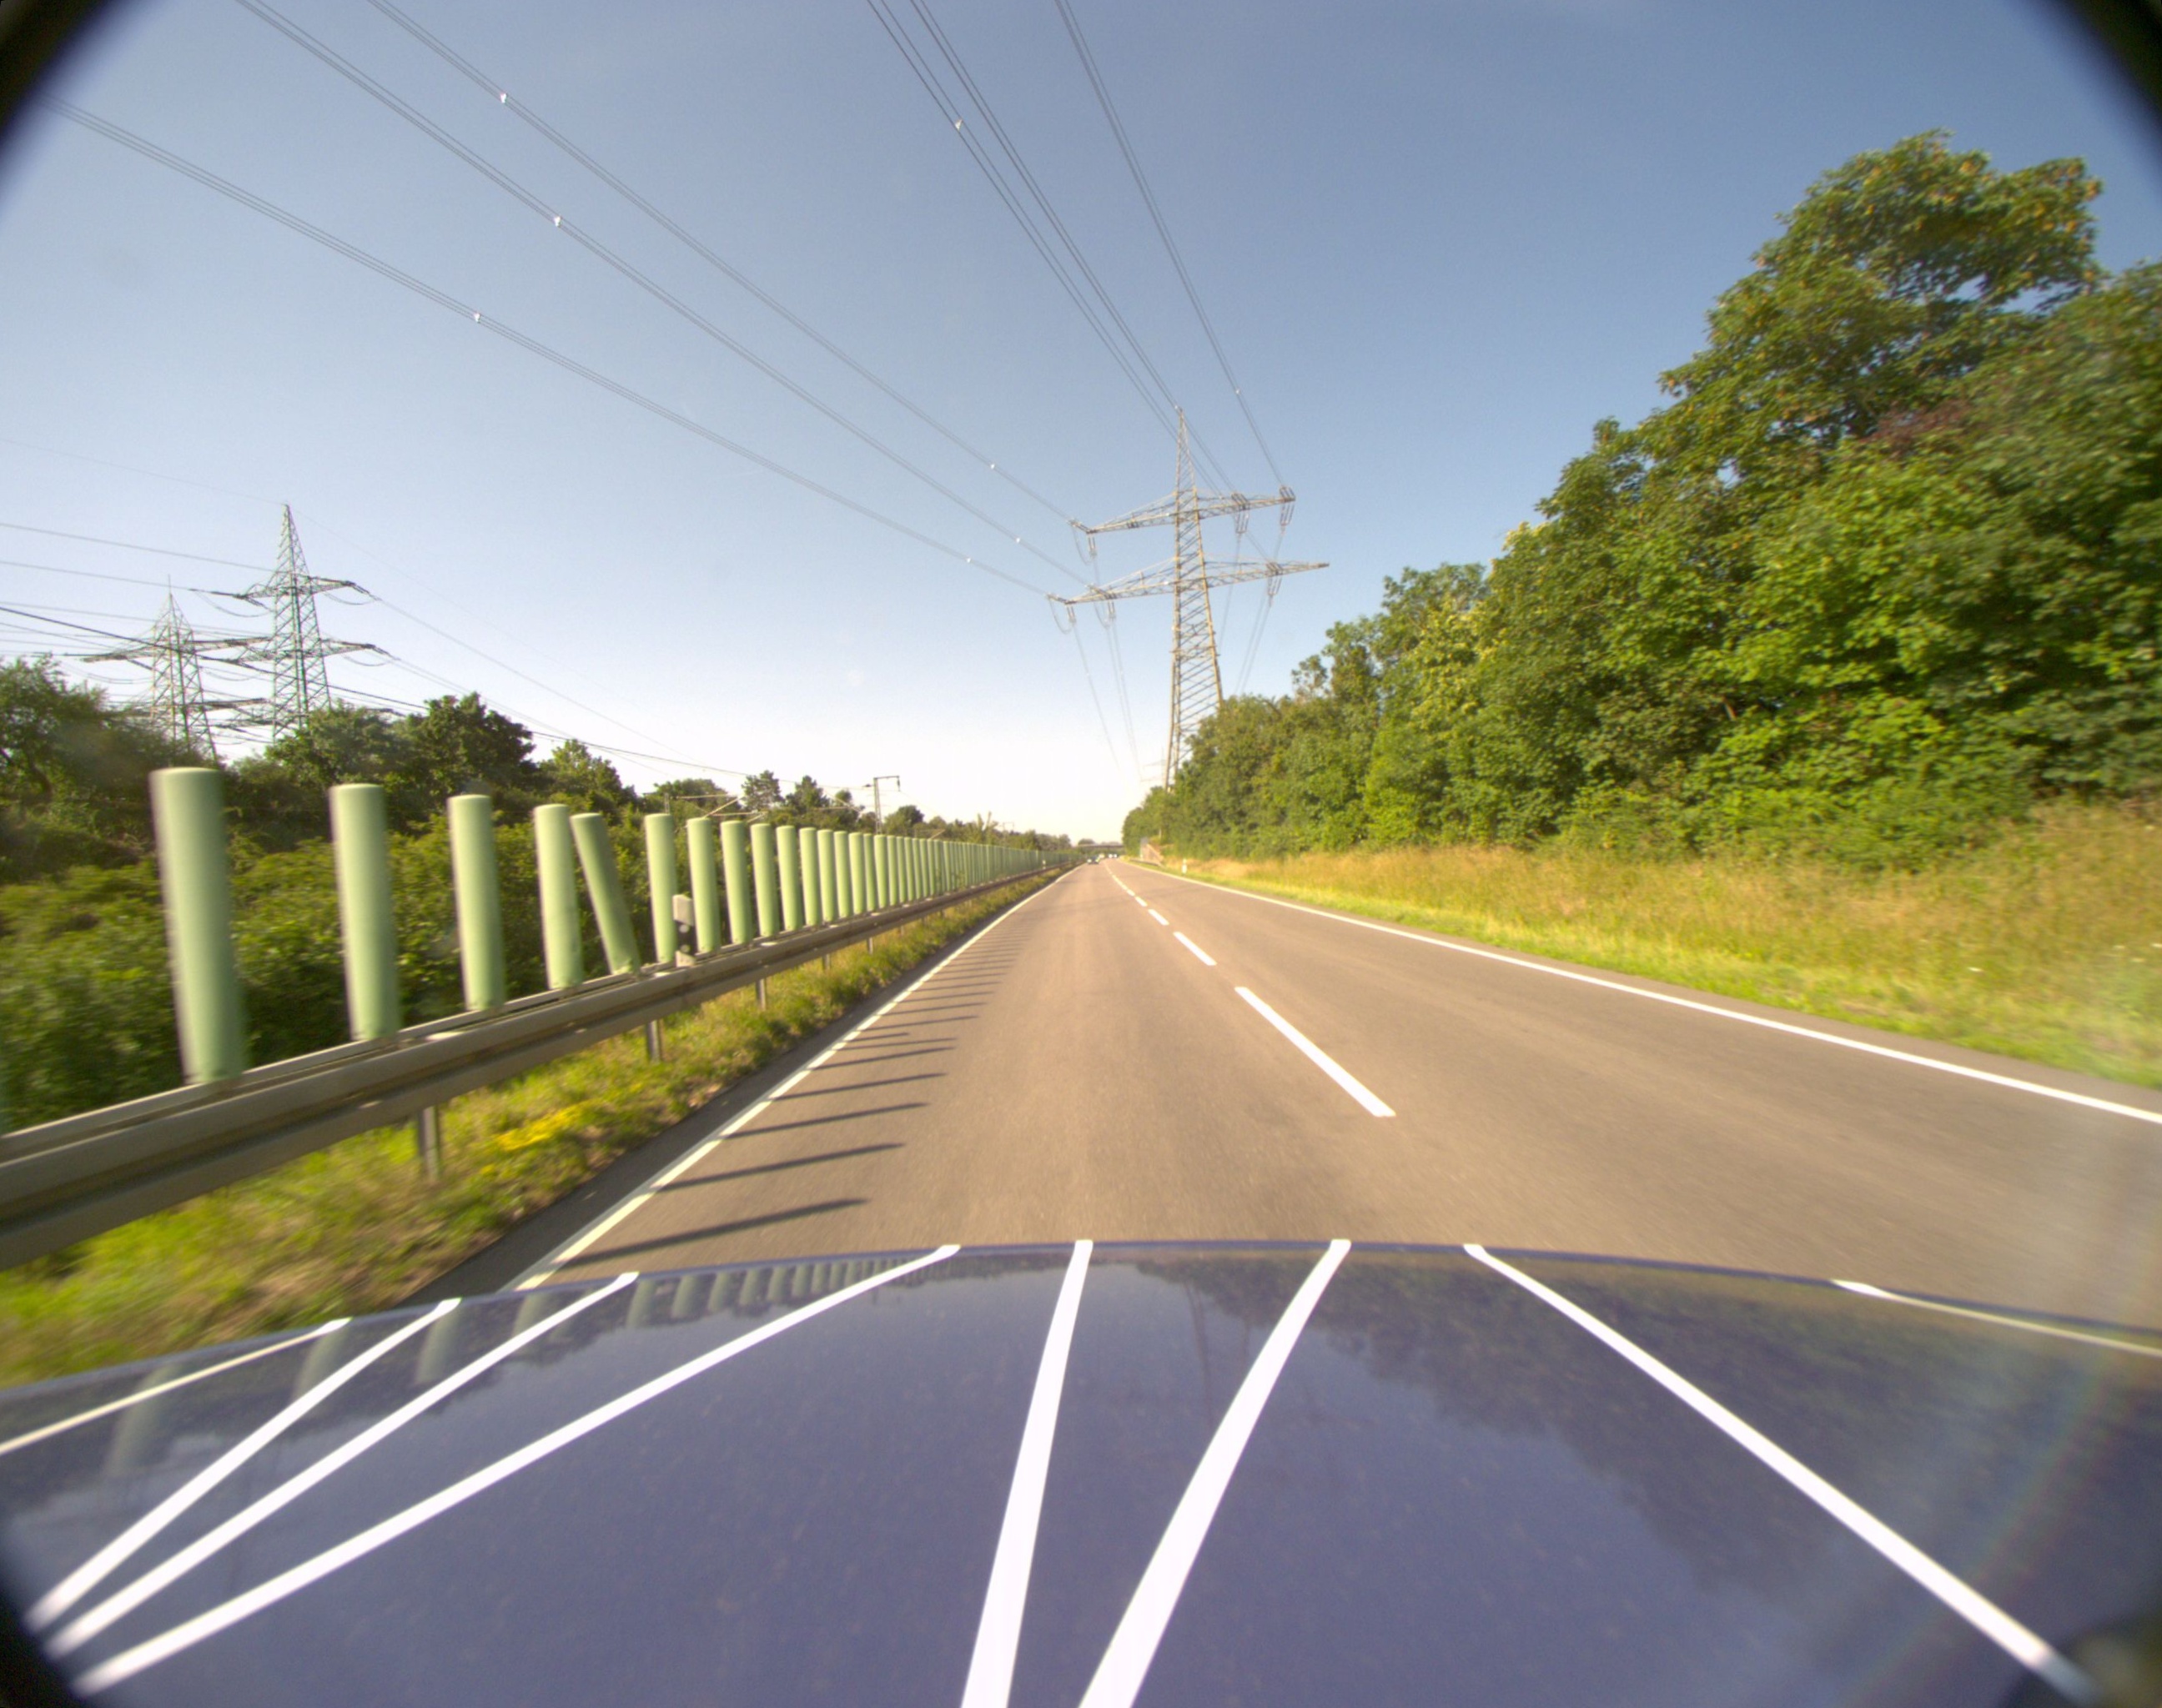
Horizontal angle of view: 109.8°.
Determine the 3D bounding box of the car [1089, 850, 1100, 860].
[{"bbox_3d":[2.345,0.153,130.019,1.786,1.550,4.001,-2,0,4],"label":"car"}]
